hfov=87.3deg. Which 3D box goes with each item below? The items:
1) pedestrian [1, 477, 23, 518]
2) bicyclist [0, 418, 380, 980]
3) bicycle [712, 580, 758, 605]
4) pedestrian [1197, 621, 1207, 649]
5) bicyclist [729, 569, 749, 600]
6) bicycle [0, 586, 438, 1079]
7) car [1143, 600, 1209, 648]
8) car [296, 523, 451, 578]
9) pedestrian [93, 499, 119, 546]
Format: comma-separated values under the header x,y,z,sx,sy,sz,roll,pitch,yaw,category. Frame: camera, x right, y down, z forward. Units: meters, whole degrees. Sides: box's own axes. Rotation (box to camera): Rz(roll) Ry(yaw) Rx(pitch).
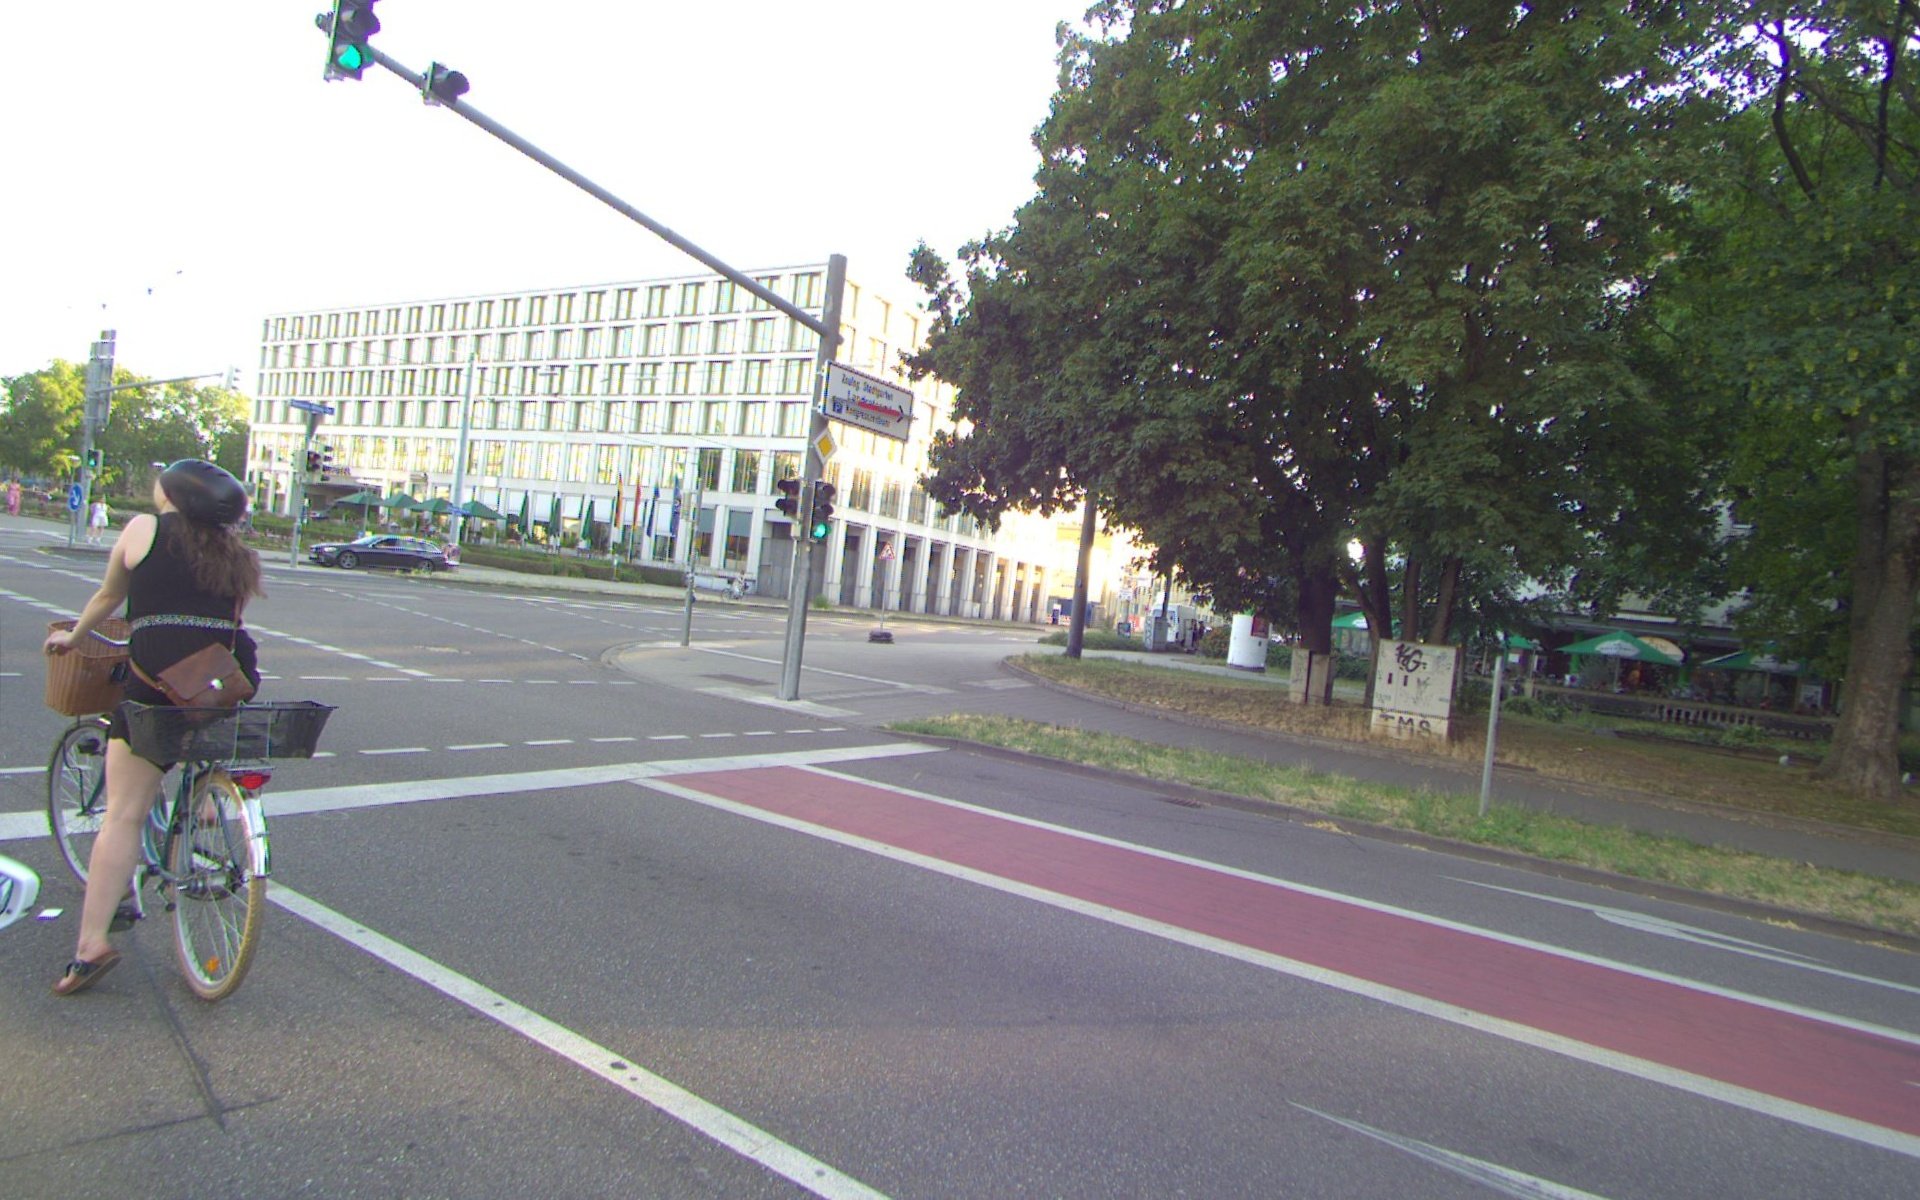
x,y,z,sx,sy,sz,roll,pitch,yaw,category
-40.653,-4.400,43.155,0.557,1.678,0.460,7,2,32,pedestrian
-2.667,0.272,3.463,0.982,1.655,0.600,7,0,32,bicyclist
-12.074,-0.394,54.033,0.592,1.120,2.775,7,0,29,bicycle
13.418,1.942,55.765,0.302,1.525,0.336,7,-1,31,pedestrian
-11.896,-0.842,54.234,0.567,1.556,0.708,7,1,29,bicyclist
-2.720,0.636,3.463,1.971,1.146,0.612,7,-1,32,bicycle
11.988,1.355,55.629,1.967,2.318,4.605,6,0,31,car
-22.936,-1.913,39.544,1.968,1.534,4.826,7,0,34,car
-29.834,-2.696,35.147,0.402,1.559,0.491,7,2,31,pedestrian
